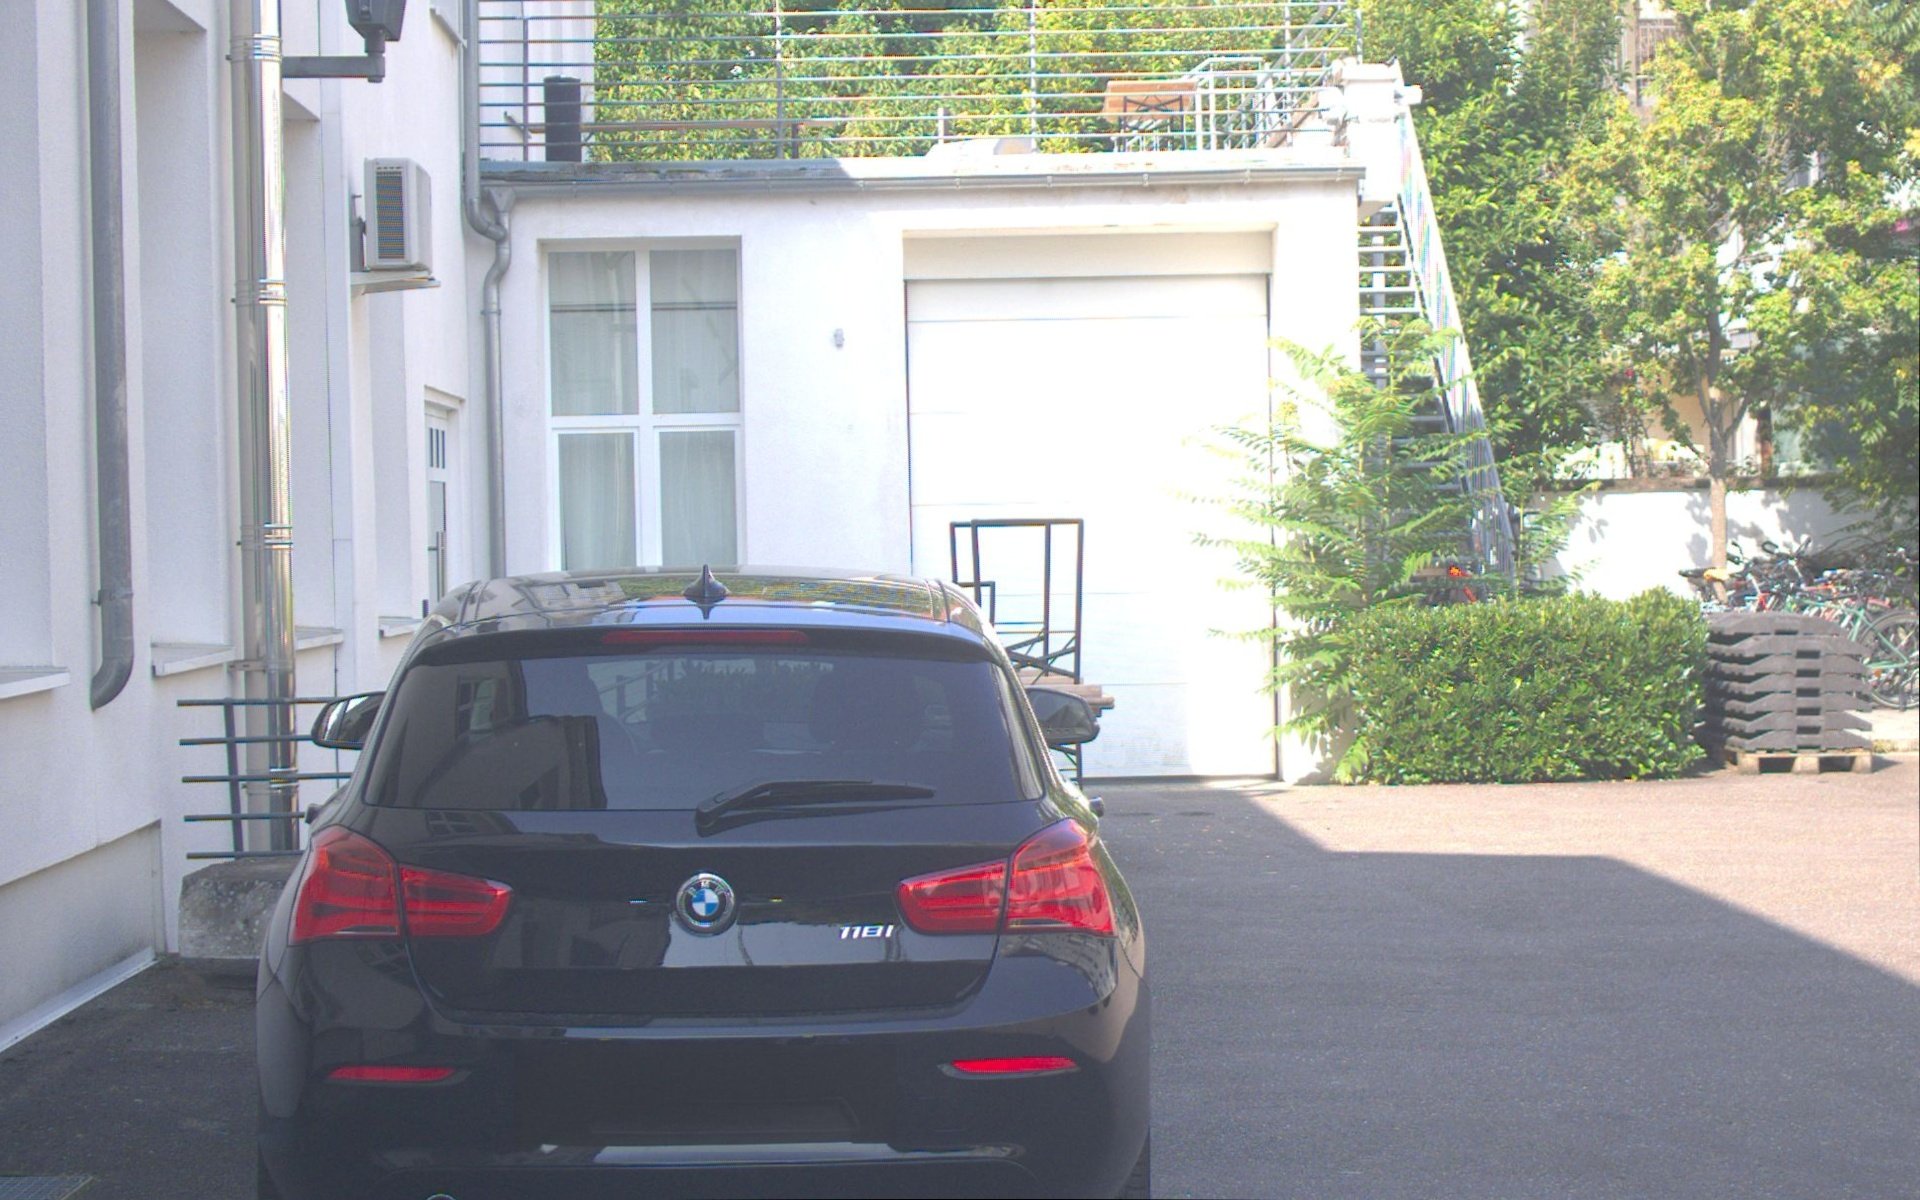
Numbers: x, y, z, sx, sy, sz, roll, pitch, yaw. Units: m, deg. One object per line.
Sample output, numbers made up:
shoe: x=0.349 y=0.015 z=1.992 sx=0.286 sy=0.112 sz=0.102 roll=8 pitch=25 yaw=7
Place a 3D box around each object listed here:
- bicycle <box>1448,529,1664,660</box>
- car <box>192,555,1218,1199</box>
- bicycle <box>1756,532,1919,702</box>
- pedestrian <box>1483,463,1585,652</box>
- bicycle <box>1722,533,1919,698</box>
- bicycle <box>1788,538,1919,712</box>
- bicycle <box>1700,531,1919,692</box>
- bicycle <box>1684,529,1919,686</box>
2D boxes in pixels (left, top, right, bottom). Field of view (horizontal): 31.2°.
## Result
bicycle: x=5.627 y=-0.060 z=32.429 sx=1.987 sy=1.140 sz=0.490 roll=-3 pitch=2 yaw=-18
car: x=-0.584 y=0.632 z=8.106 sx=1.792 sy=1.423 sz=4.137 roll=0 pitch=1 yaw=-4
bicycle: x=7.187 y=0.120 z=25.565 sx=2.411 sy=1.242 sz=0.526 roll=0 pitch=1 yaw=-1
pedestrian: x=5.425 y=-0.408 z=32.532 sx=0.609 sy=1.765 sz=0.861 roll=-1 pitch=1 yaw=-20
bicycle: x=7.093 y=0.111 z=26.304 sx=2.411 sy=1.242 sz=0.526 roll=0 pitch=1 yaw=-1
bicycle: x=7.260 y=0.170 z=24.871 sx=2.411 sy=1.242 sz=0.526 roll=0 pitch=1 yaw=-1
bicycle: x=7.071 y=0.086 z=26.994 sx=2.411 sy=1.242 sz=0.526 roll=0 pitch=1 yaw=-1
bicycle: x=7.079 y=0.053 z=27.621 sx=2.411 sy=1.242 sz=0.526 roll=0 pitch=1 yaw=-1
